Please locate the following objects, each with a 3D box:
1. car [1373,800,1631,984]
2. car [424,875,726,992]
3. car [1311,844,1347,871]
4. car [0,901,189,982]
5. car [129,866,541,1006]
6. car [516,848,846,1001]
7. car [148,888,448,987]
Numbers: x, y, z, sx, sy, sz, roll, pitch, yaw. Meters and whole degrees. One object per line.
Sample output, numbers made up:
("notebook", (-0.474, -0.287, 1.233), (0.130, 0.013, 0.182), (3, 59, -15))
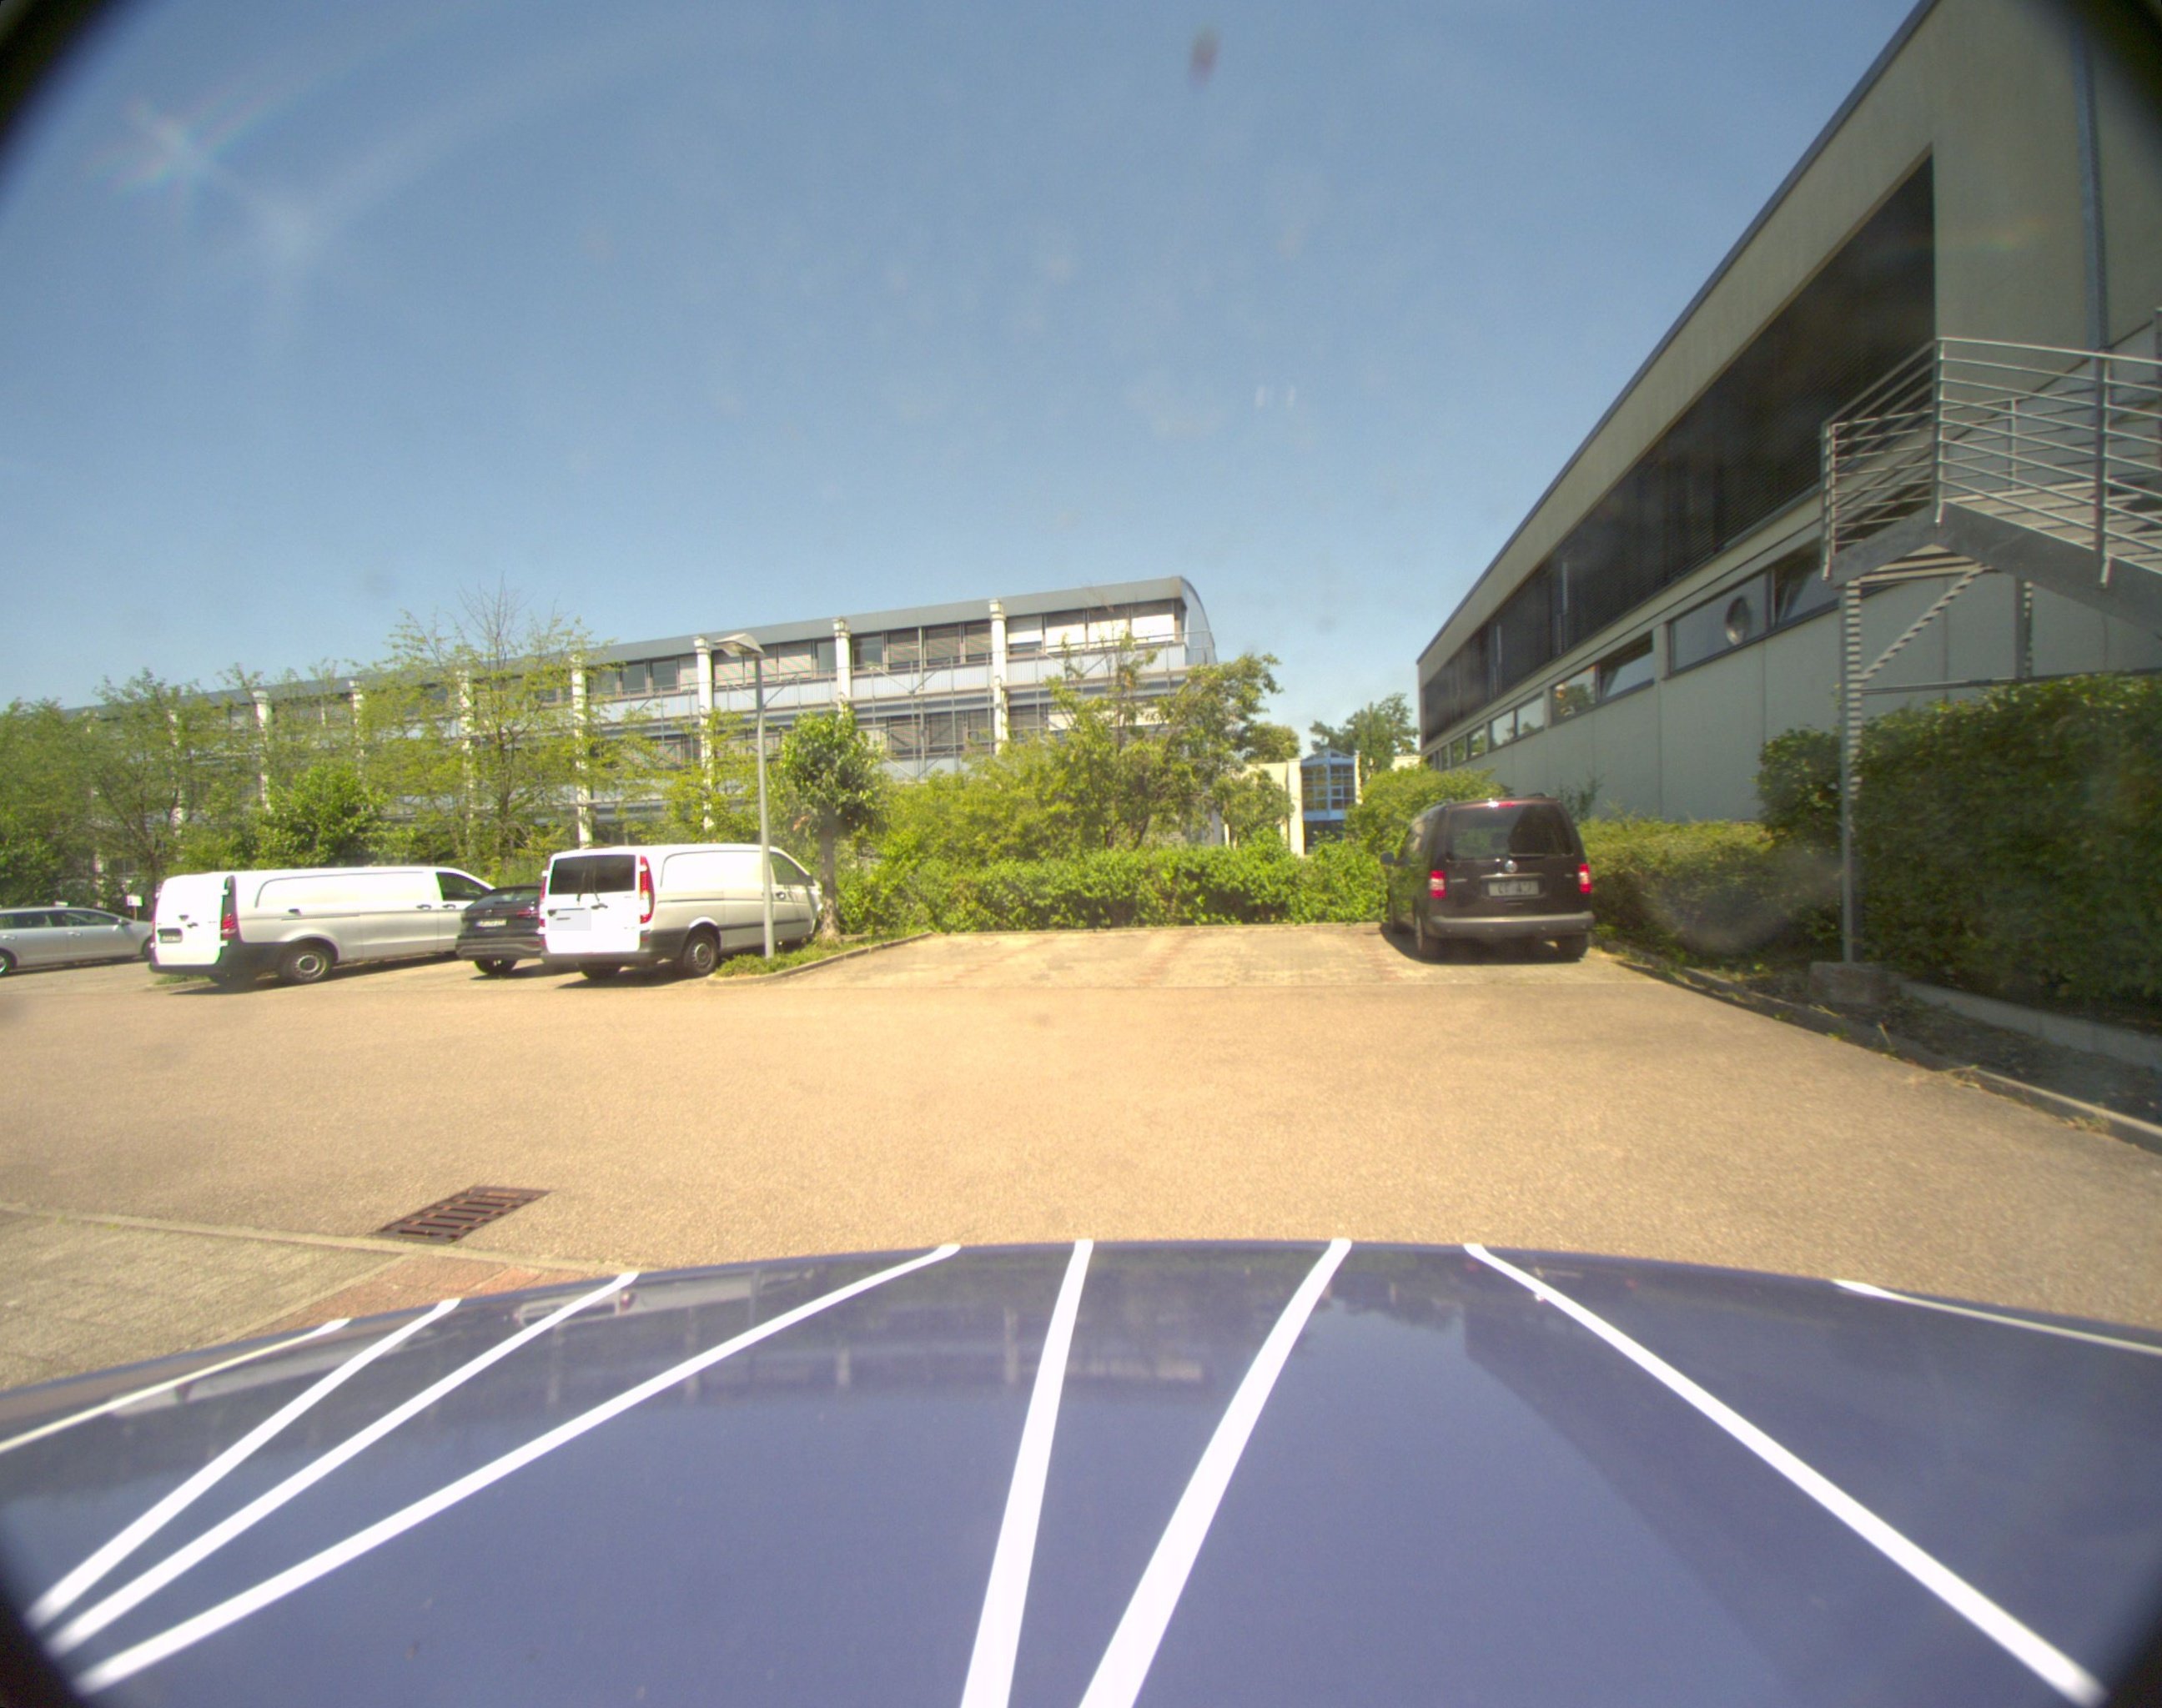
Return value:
("car", (5.130, 0.378, 9.949), (1.865, 1.849, 4.232), (-3, 1, 14))
("car", (-8.424, 1.236, 13.188), (1.736, 1.475, 4.201), (-3, 1, 14))
("car", (16.647, 0.217, 51.115), (1.834, 1.558, 4.002), (-2, 2, 11))
("car", (-23.424, 1.978, 16.983), (1.736, 1.475, 4.089), (-3, 1, 17))
("car", (-12.930, 1.283, 13.757), (1.853, 1.845, 4.940), (-3, 1, 16))
("car", (-5.882, 0.912, 12.019), (1.865, 1.849, 4.681), (-3, 1, 14))
("car", (-15.803, 1.615, 15.662), (1.622, 1.479, 3.925), (-3, 1, 16))
